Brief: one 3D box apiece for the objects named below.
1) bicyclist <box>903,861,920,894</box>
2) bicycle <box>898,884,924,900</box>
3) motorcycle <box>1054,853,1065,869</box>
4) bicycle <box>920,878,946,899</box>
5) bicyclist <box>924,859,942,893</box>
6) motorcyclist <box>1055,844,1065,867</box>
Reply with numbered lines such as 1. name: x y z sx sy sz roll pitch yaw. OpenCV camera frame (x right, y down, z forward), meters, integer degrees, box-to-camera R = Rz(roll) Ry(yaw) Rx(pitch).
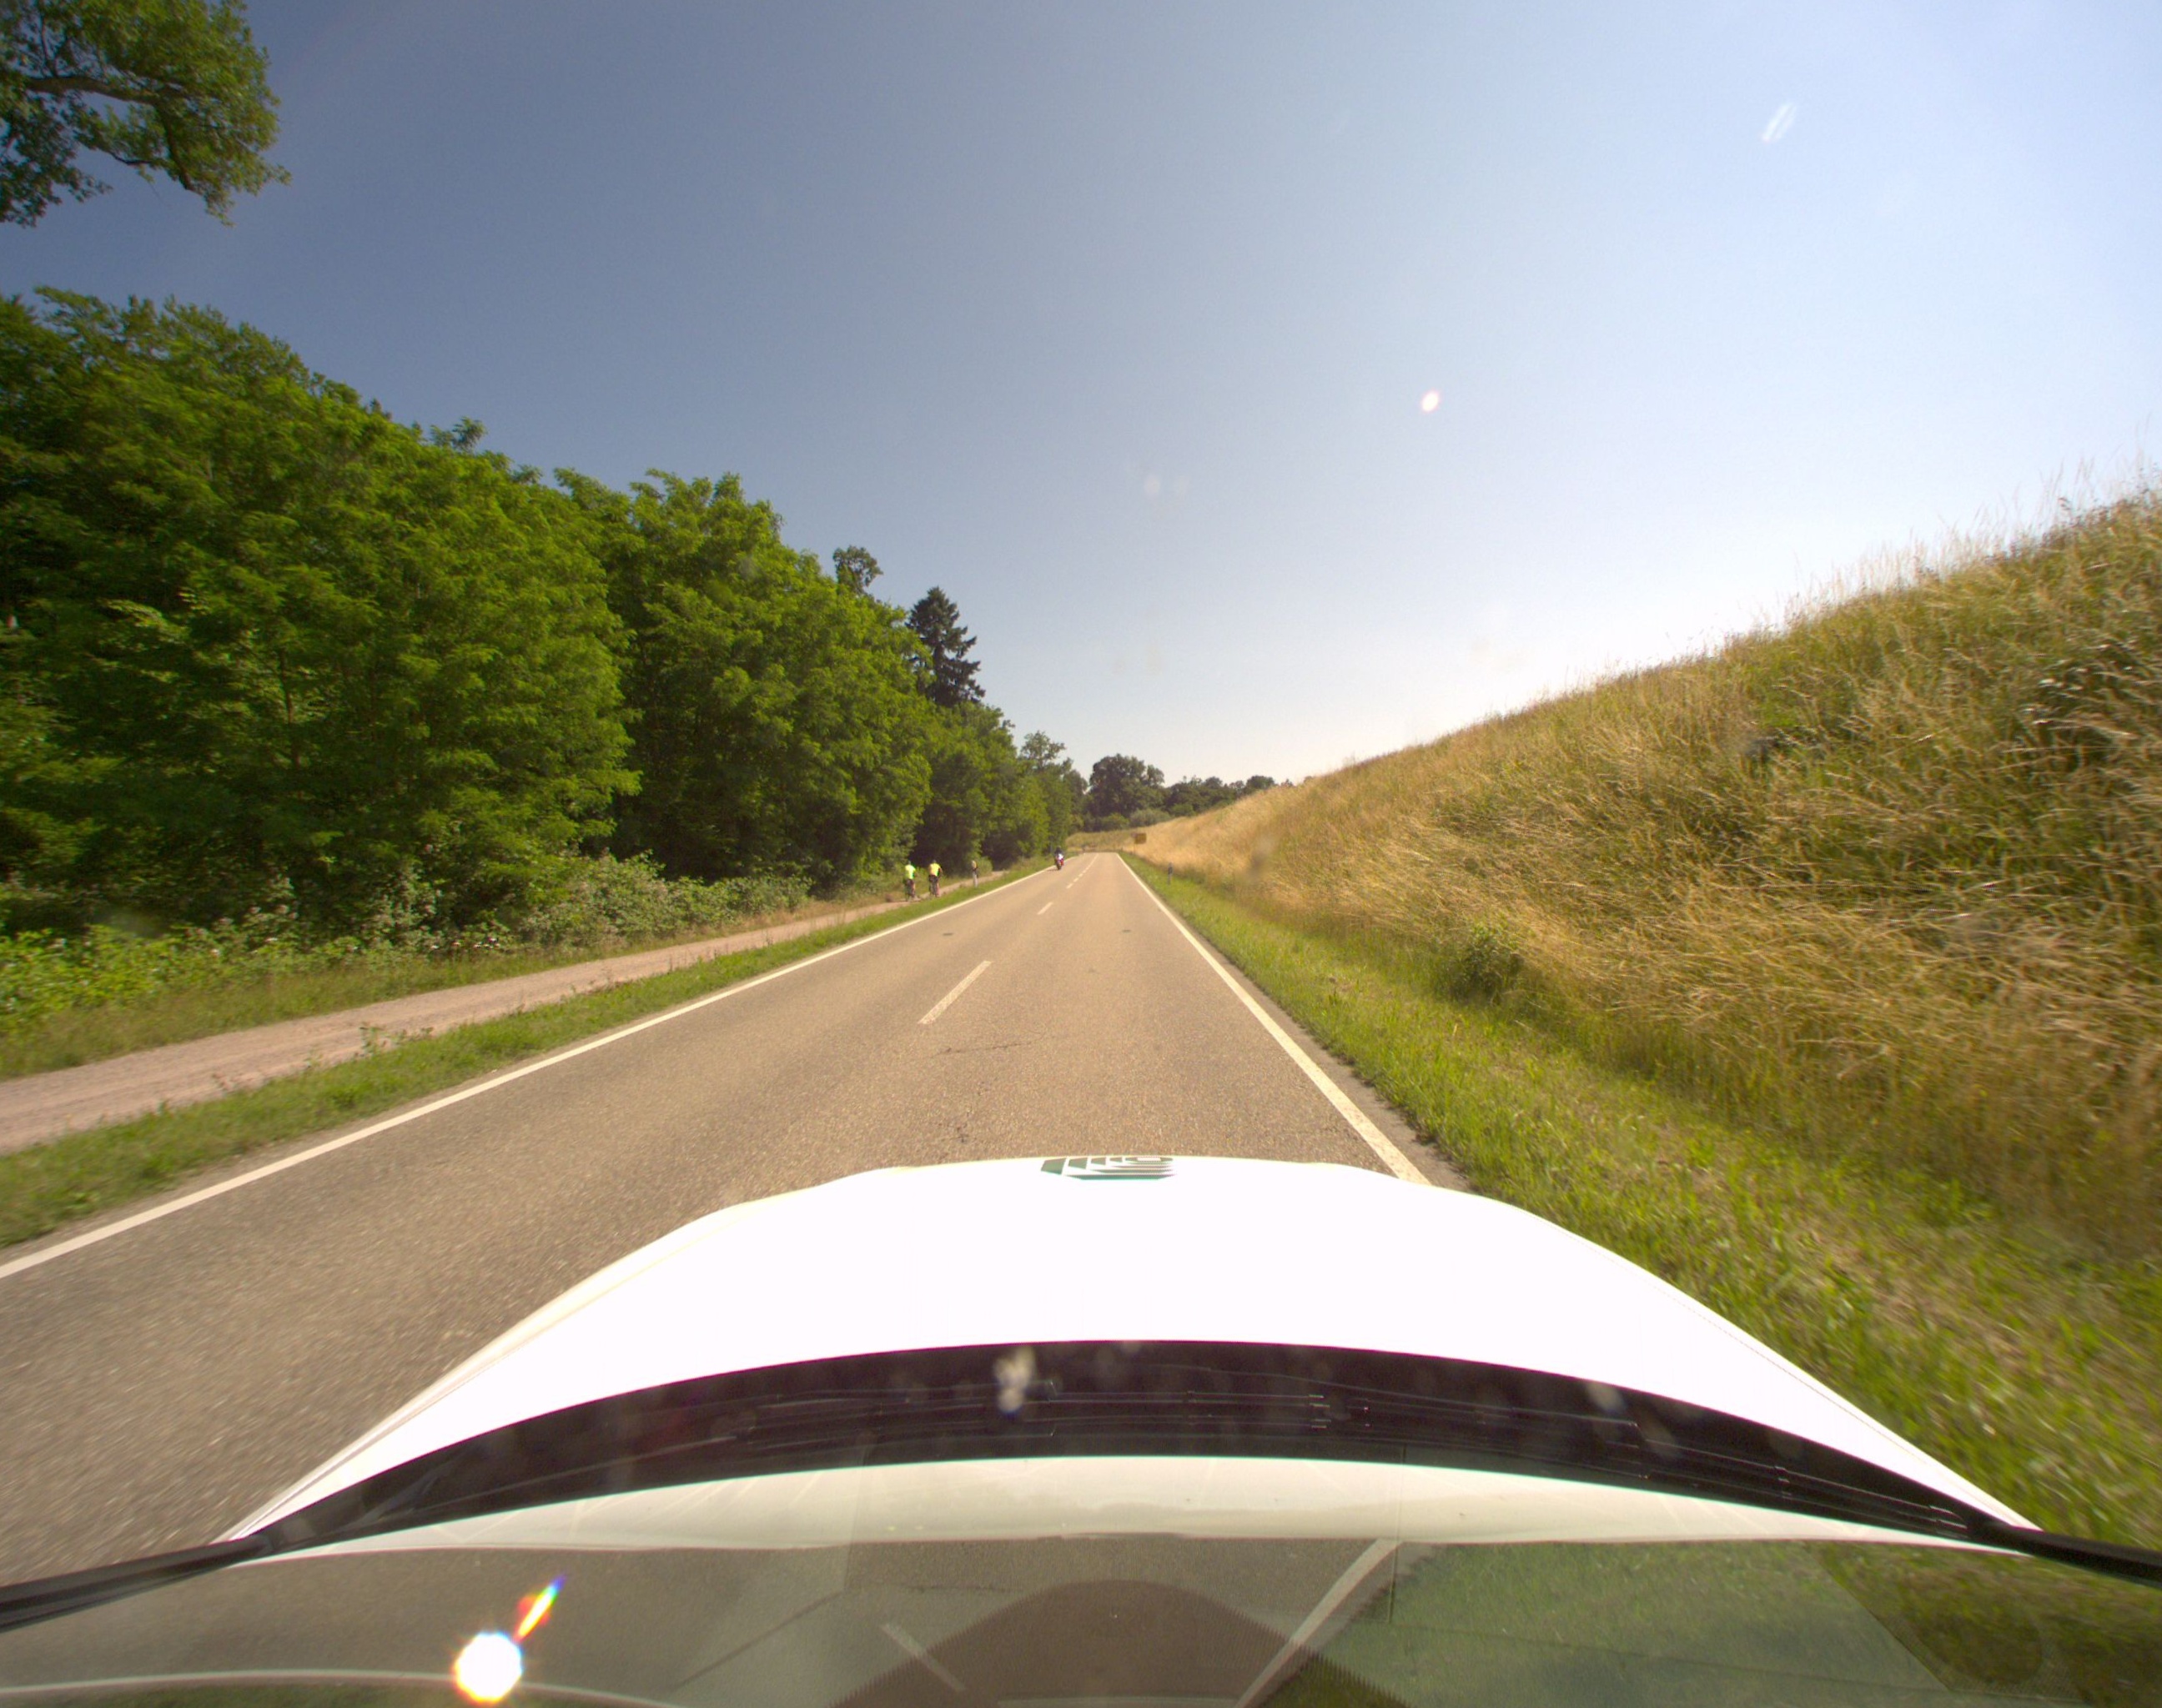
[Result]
1. bicyclist: -7.458 1.029 35.830 0.603 1.415 0.703 0 -2 1
2. bicycle: -7.465 1.656 35.811 0.617 0.681 2.137 0 -2 2
3. motorcycle: -1.417 0.461 54.369 0.636 0.984 2.007 -1 0 1
4. bicycle: -6.449 1.486 35.626 0.637 0.788 2.138 -3 0 2
5. bicyclist: -6.472 0.965 35.671 0.603 1.415 0.703 -3 0 1
6. motorcyclist: -1.417 0.091 54.445 0.657 1.528 0.813 0 -2 0
